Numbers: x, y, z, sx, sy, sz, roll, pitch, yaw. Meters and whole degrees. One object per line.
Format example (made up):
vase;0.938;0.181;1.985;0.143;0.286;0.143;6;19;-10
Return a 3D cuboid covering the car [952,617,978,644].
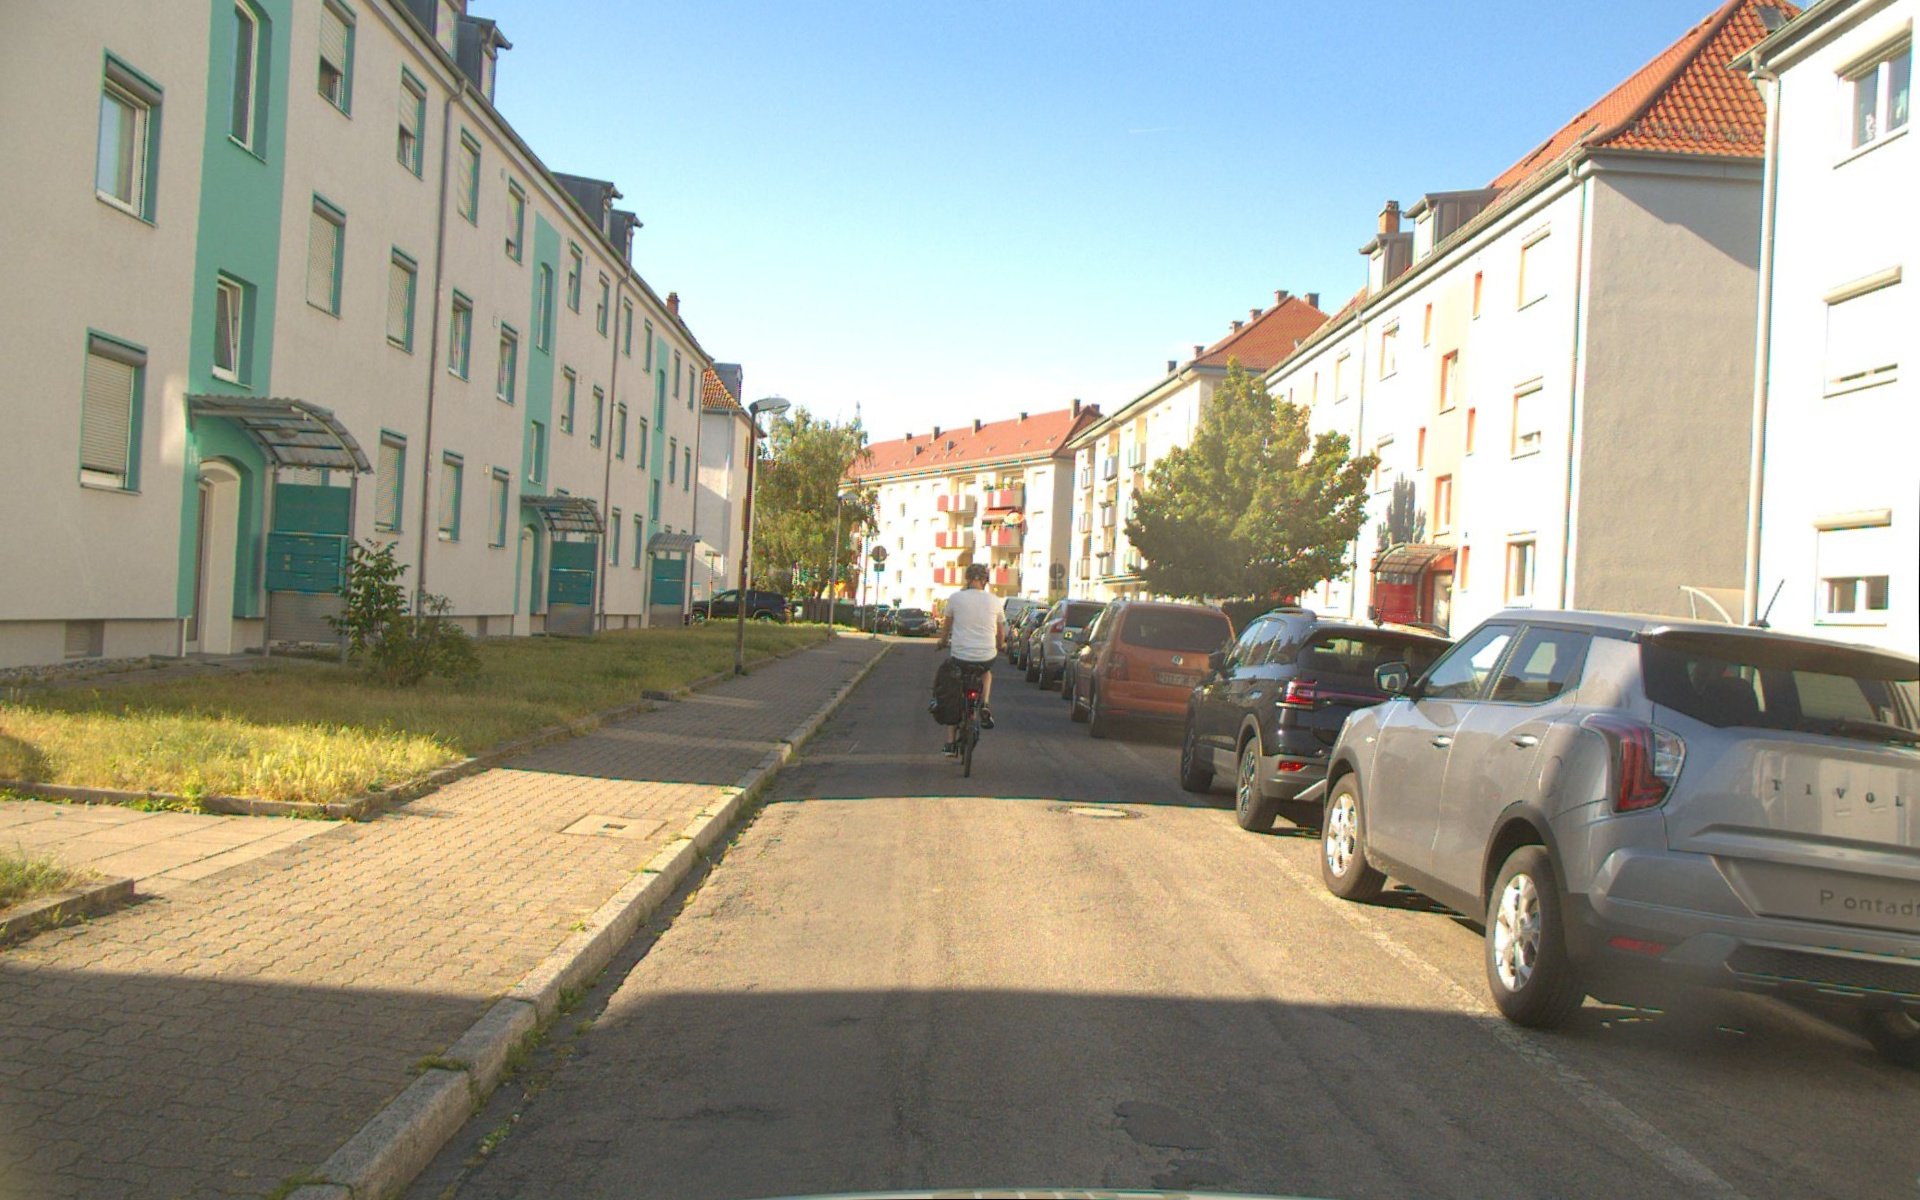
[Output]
car;0.309;1.892;104.105;1.354;1.523;3.075;4;0;-3

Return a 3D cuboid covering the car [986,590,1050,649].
car;1.884;0.629;54.730;1.641;1.769;3.940;4;0;-3

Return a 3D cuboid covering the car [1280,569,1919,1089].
car;2.967;0.803;7.785;1.716;1.645;4.449;6;0;-3

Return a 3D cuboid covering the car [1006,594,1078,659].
car;2.217;0.708;45.384;1.528;1.604;3.364;4;0;-3

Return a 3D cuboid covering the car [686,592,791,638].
car;-9.175;0.611;68.792;4.149;1.667;1.581;3;0;-5

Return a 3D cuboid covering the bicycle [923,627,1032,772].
bicycle;0.123;0.843;14.790;0.792;1.148;2.100;2;0;-3

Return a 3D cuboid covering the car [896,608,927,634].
car;-2.572;1.114;87.680;1.441;1.359;3.137;0;0;-5

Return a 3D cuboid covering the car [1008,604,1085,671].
car;2.077;0.875;40.477;1.527;1.436;3.932;4;0;-1

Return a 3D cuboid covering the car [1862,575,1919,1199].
car;3.039;0.809;1.658;1.657;1.602;4.433;5;0;-2

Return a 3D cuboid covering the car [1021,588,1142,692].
car;2.226;0.713;31.412;1.667;1.699;4.377;5;0;-3

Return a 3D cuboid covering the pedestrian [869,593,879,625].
pedestrian;-4.359;0.460;83.792;0.425;1.601;0.543;3;0;-1

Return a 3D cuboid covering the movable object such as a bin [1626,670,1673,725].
movable object such as a bin;12.049;1.695;28.906;0.512;0.902;0.633;3;-1;-1

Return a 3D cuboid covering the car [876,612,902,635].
car;-4.259;1.384;98.674;1.440;1.359;3.138;0;0;-4

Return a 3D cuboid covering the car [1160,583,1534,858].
car;2.795;0.795;12.989;1.678;1.623;4.396;6;0;-1

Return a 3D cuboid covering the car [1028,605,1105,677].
car;2.324;0.883;36.627;1.363;1.427;3.243;4;-1;-1

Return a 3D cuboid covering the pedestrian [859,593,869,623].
pedestrian;-4.851;0.409;83.695;0.425;1.452;0.543;3;0;-1

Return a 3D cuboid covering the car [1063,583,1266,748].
car;2.431;0.753;20.644;1.824;1.697;4.126;5;-1;-1

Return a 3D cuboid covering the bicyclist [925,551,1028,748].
bicyclist;0.136;0.435;14.756;0.792;1.672;0.898;2;-1;-3

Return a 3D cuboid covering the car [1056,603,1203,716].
car;2.597;0.870;26.104;1.586;1.485;3.838;6;0;-3

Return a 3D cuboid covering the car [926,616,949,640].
car;-1.605;1.971;116.818;1.440;1.542;3.075;4;0;-3

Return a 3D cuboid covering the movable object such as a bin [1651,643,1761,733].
movable object such as a bin;12.992;1.515;28.847;1.332;1.440;1.187;3;-1;-1
